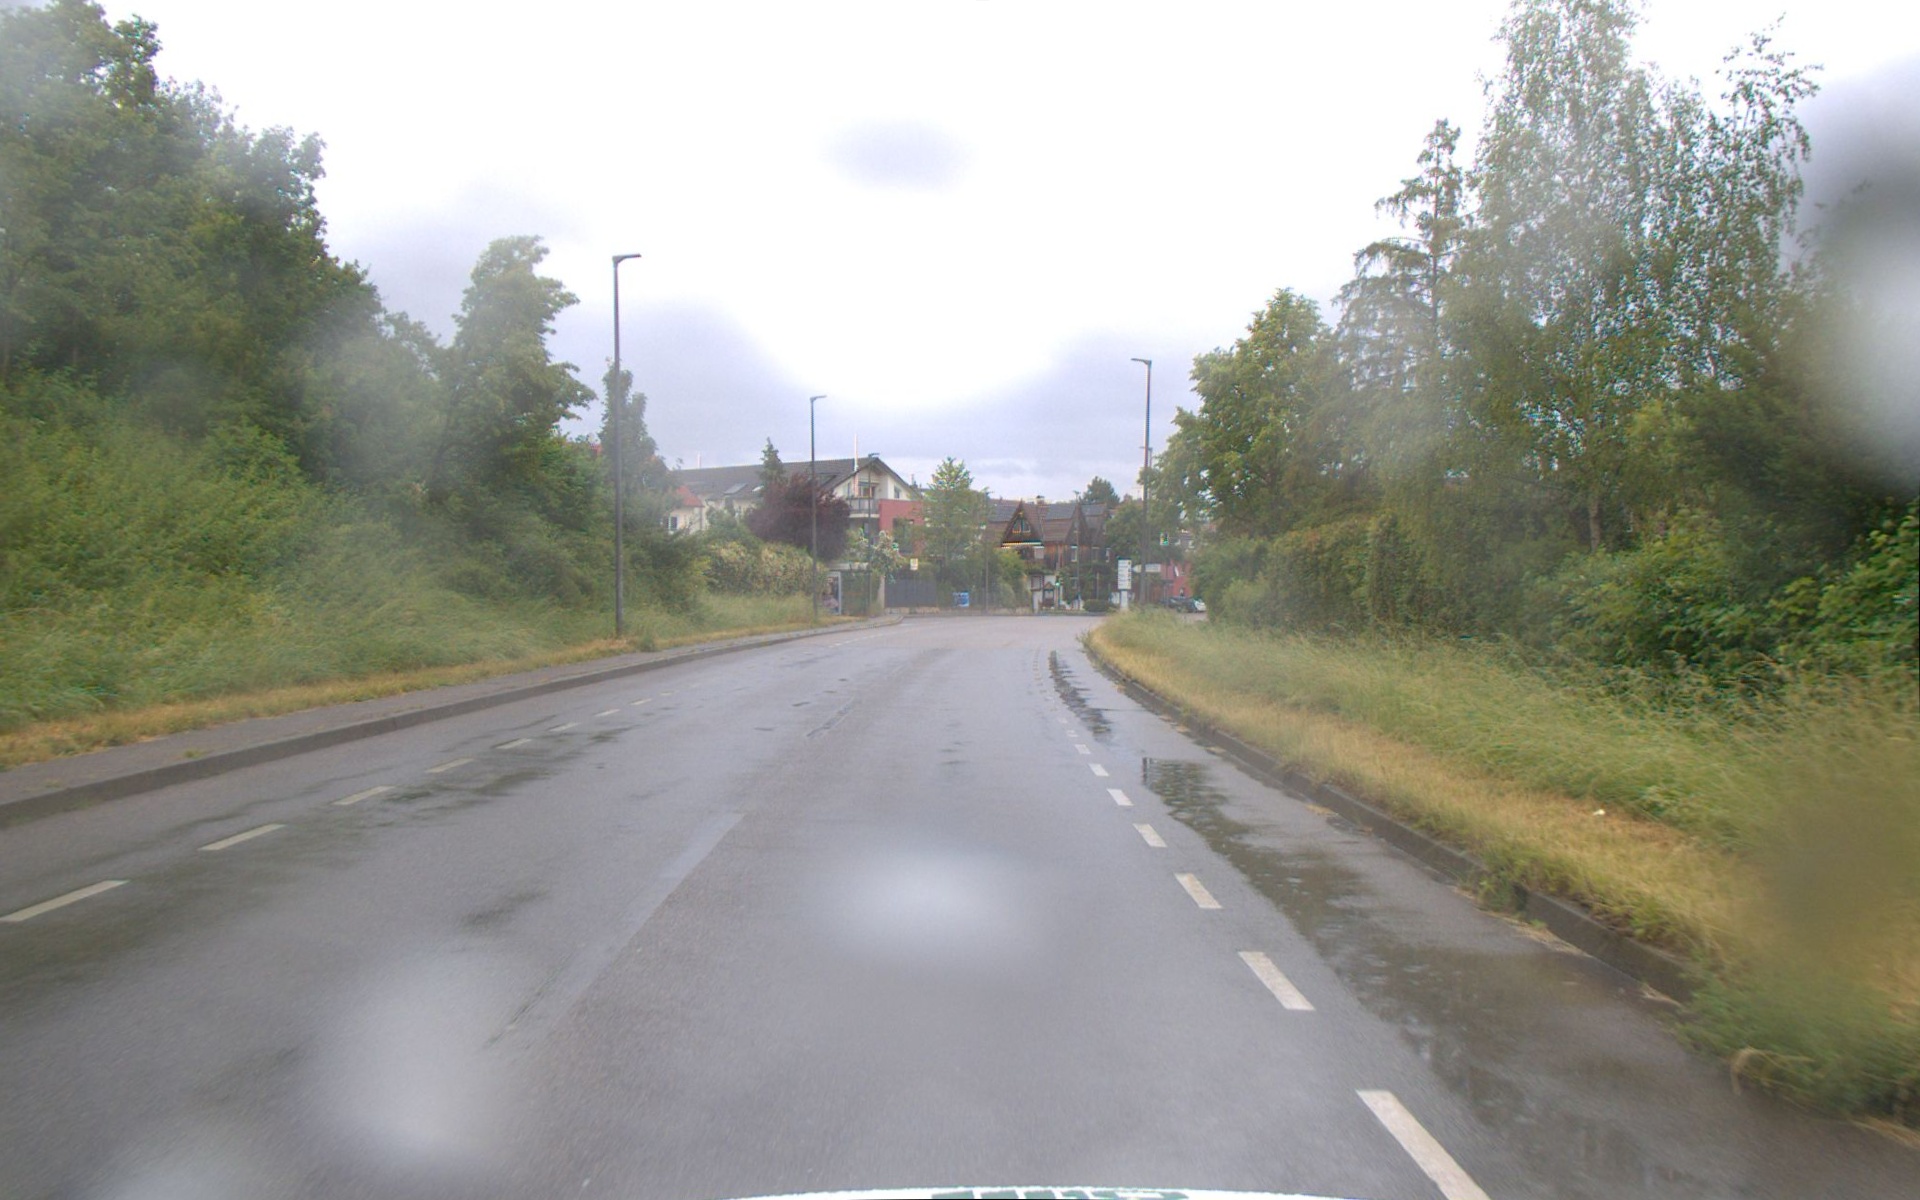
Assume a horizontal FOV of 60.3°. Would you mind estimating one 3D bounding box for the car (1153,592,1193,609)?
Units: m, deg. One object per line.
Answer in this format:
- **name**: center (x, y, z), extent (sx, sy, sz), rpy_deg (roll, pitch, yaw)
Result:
- **car**: center (21.053, 0.068, 163.470), extent (3.517, 1.532, 1.848), rpy_deg (3, 2, 37)
